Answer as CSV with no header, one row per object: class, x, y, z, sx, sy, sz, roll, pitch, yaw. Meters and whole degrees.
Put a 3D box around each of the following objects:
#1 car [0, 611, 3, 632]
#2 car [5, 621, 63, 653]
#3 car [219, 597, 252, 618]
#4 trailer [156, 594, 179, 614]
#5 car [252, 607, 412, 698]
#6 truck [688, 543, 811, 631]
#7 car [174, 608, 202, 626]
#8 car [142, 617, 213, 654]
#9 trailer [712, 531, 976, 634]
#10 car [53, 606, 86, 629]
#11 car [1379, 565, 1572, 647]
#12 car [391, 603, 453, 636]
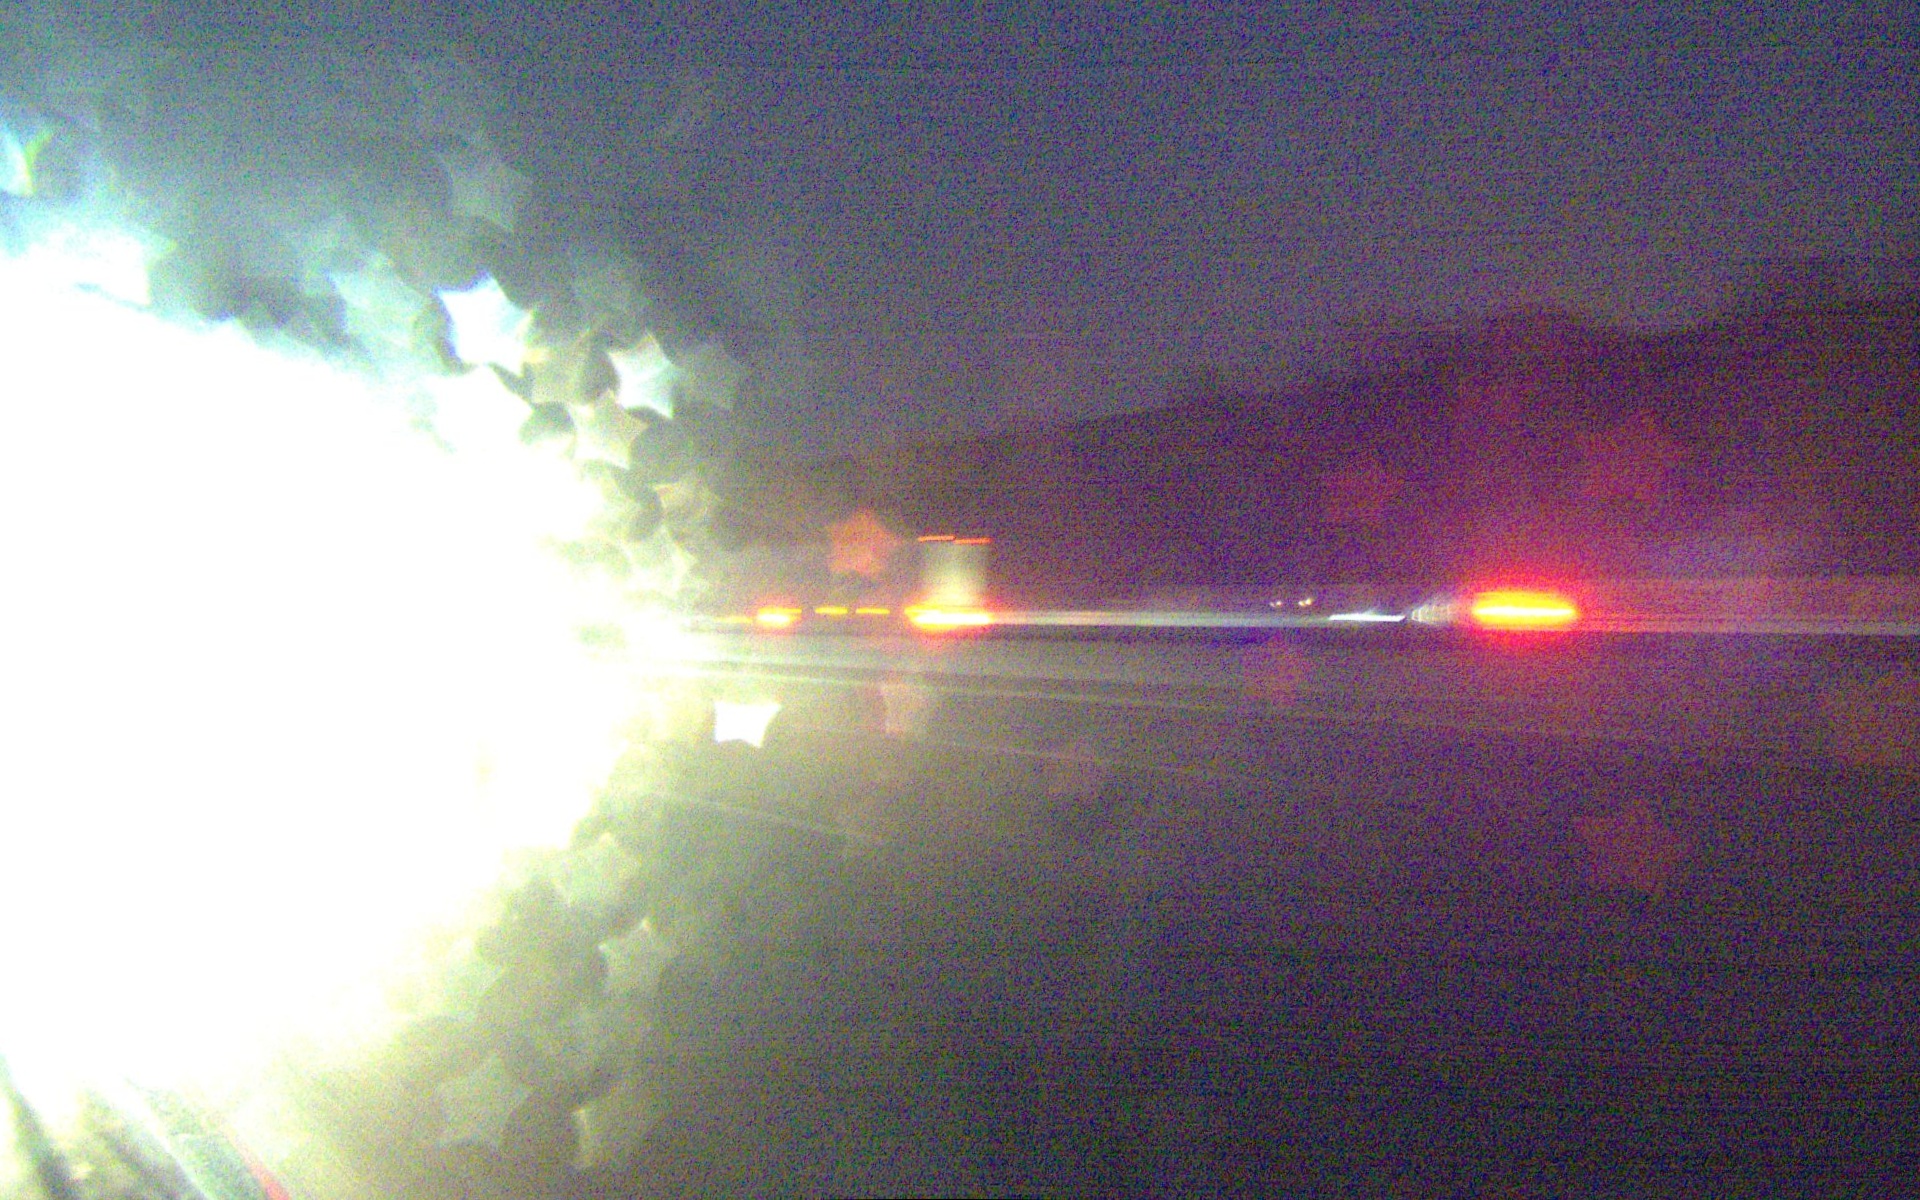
car,-87.578,1.973,91.050,4.002,1.807,1.903,-1,2,45
car,-50.538,1.970,55.234,3.998,1.608,1.896,-1,0,41
car,-75.174,0.808,105.042,4.280,2.028,1.972,-1,2,44
trailer,-155.779,0.819,198.886,2.620,3.758,13.961,-4,3,-42
car,-12.651,0.967,20.280,4.000,1.608,1.704,-1,0,43
truck,-10.600,-0.638,50.639,6.266,4.120,2.700,-1,2,42
car,-95.018,2.112,124.512,4.279,2.028,1.972,-1,3,44
car,-36.811,1.629,47.584,3.998,1.608,1.896,-1,0,41
trailer,-5.842,-0.699,46.367,14.856,4.120,2.699,-1,2,42
car,-78.107,1.527,88.790,1.903,1.807,4.003,-4,2,-44
car,14.171,0.158,27.951,4.403,2.028,1.973,-1,3,41
car,-32.095,1.129,60.311,3.999,1.770,1.973,-1,3,42
